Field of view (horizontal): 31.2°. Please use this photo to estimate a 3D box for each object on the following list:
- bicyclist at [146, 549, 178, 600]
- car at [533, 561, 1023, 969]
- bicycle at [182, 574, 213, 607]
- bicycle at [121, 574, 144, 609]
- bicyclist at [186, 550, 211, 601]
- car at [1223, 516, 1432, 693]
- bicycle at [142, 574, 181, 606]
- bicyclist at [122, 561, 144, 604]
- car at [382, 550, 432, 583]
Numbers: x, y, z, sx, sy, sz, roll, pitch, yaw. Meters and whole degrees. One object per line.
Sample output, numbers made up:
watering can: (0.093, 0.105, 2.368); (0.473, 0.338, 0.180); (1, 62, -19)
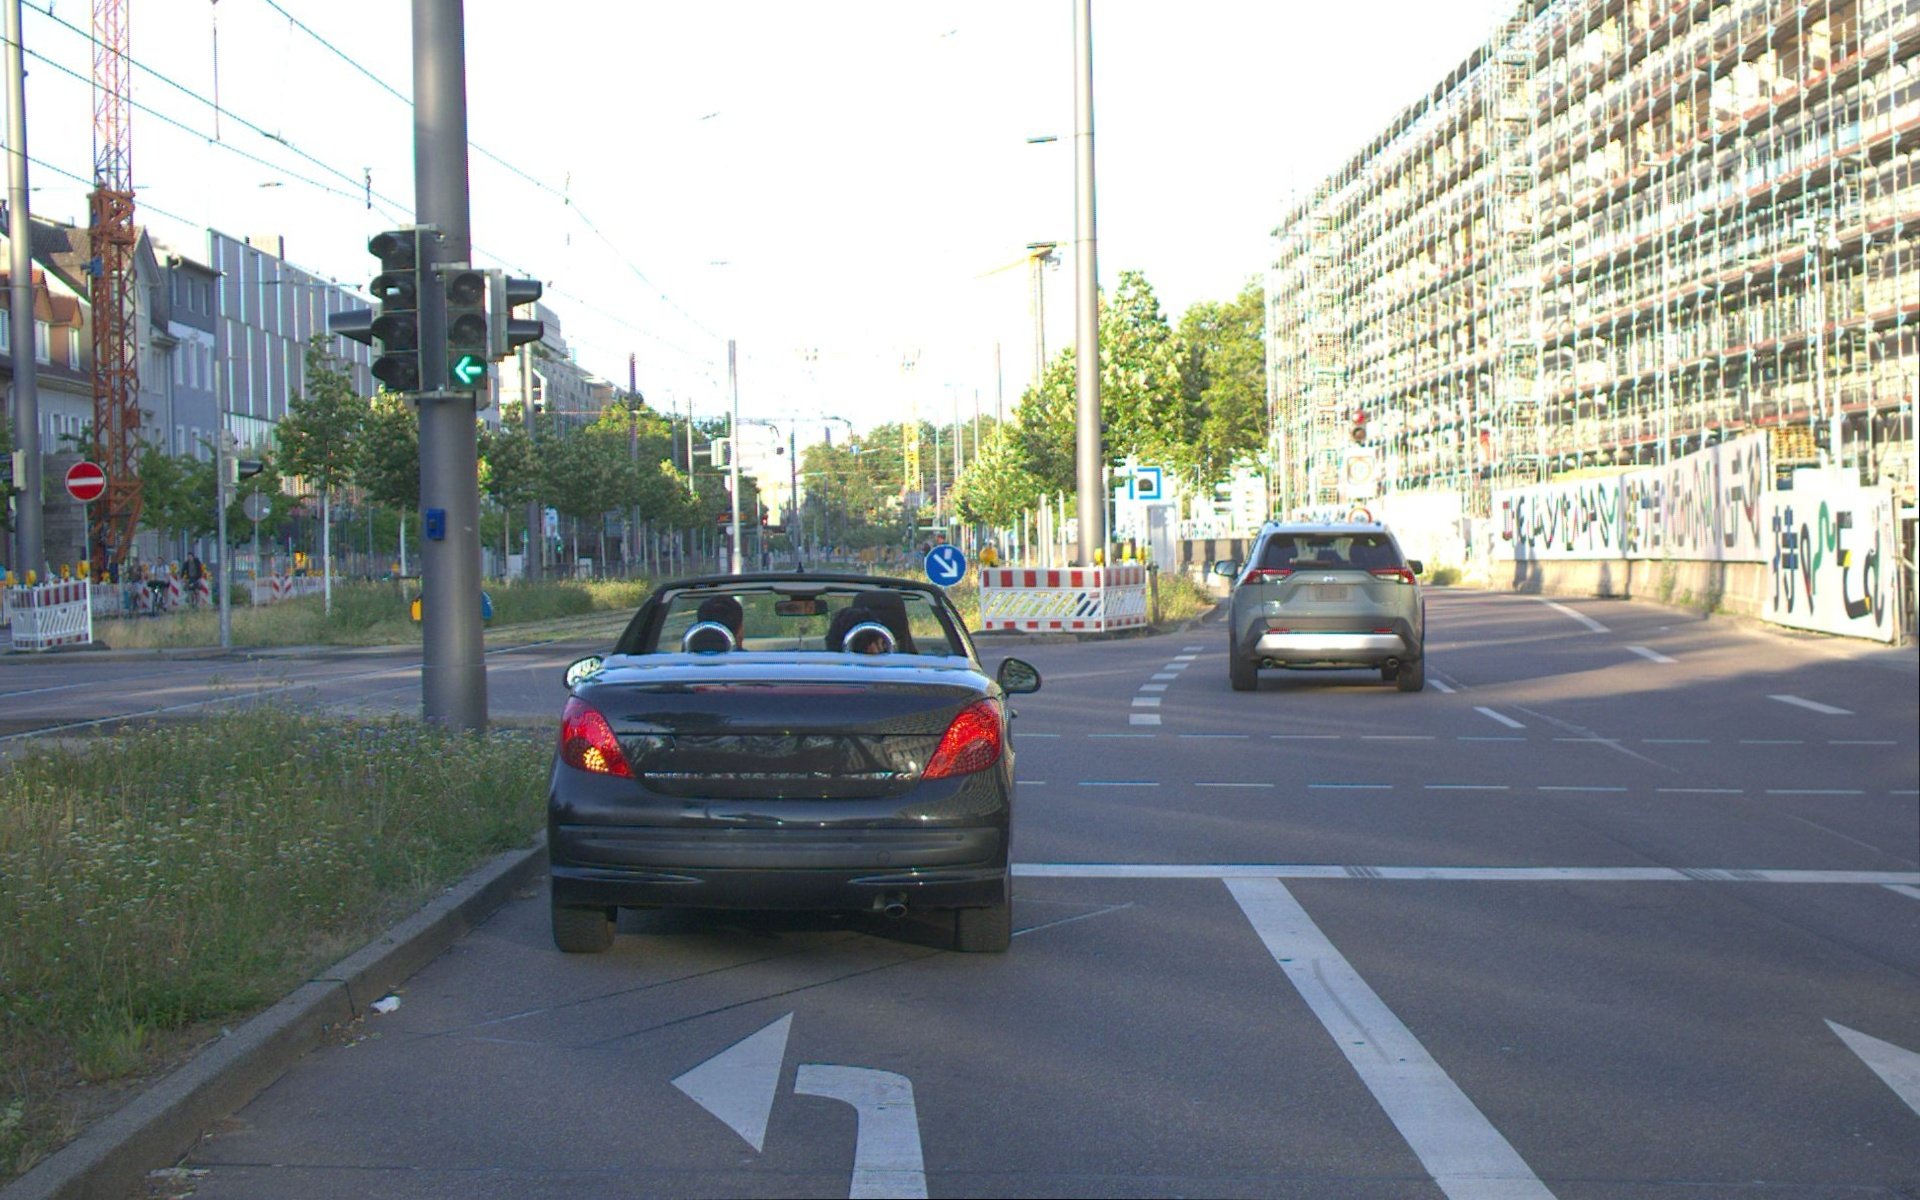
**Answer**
bicyclist: (-24.618, -0.782, 106.064); (0.772, 1.565, 0.793); (1, 1, 1)
car: (-0.662, 0.543, 13.766); (1.674, 1.347, 4.000); (0, 1, -1)
bicycle: (-23.523, -0.300, 106.122); (0.590, 0.972, 1.556); (1, 1, 0)
bicycle: (-24.549, -0.253, 102.022); (0.589, 0.985, 1.556); (0, 1, -16)
bicyclist: (-23.514, -0.753, 106.200); (0.590, 1.564, 0.711); (1, 1, 0)
car: (3.632, -0.004, 34.583); (1.834, 1.667, 4.282); (0, 1, 3)
bicycle: (-24.628, -0.315, 106.072); (0.772, 0.942, 1.640); (1, 1, 1)
bicyclist: (-24.543, -0.513, 102.018); (0.589, 1.262, 0.460); (0, 1, -16)
car: (-25.687, -1.571, 159.774); (1.658, 1.426, 3.895); (1, 1, 1)
